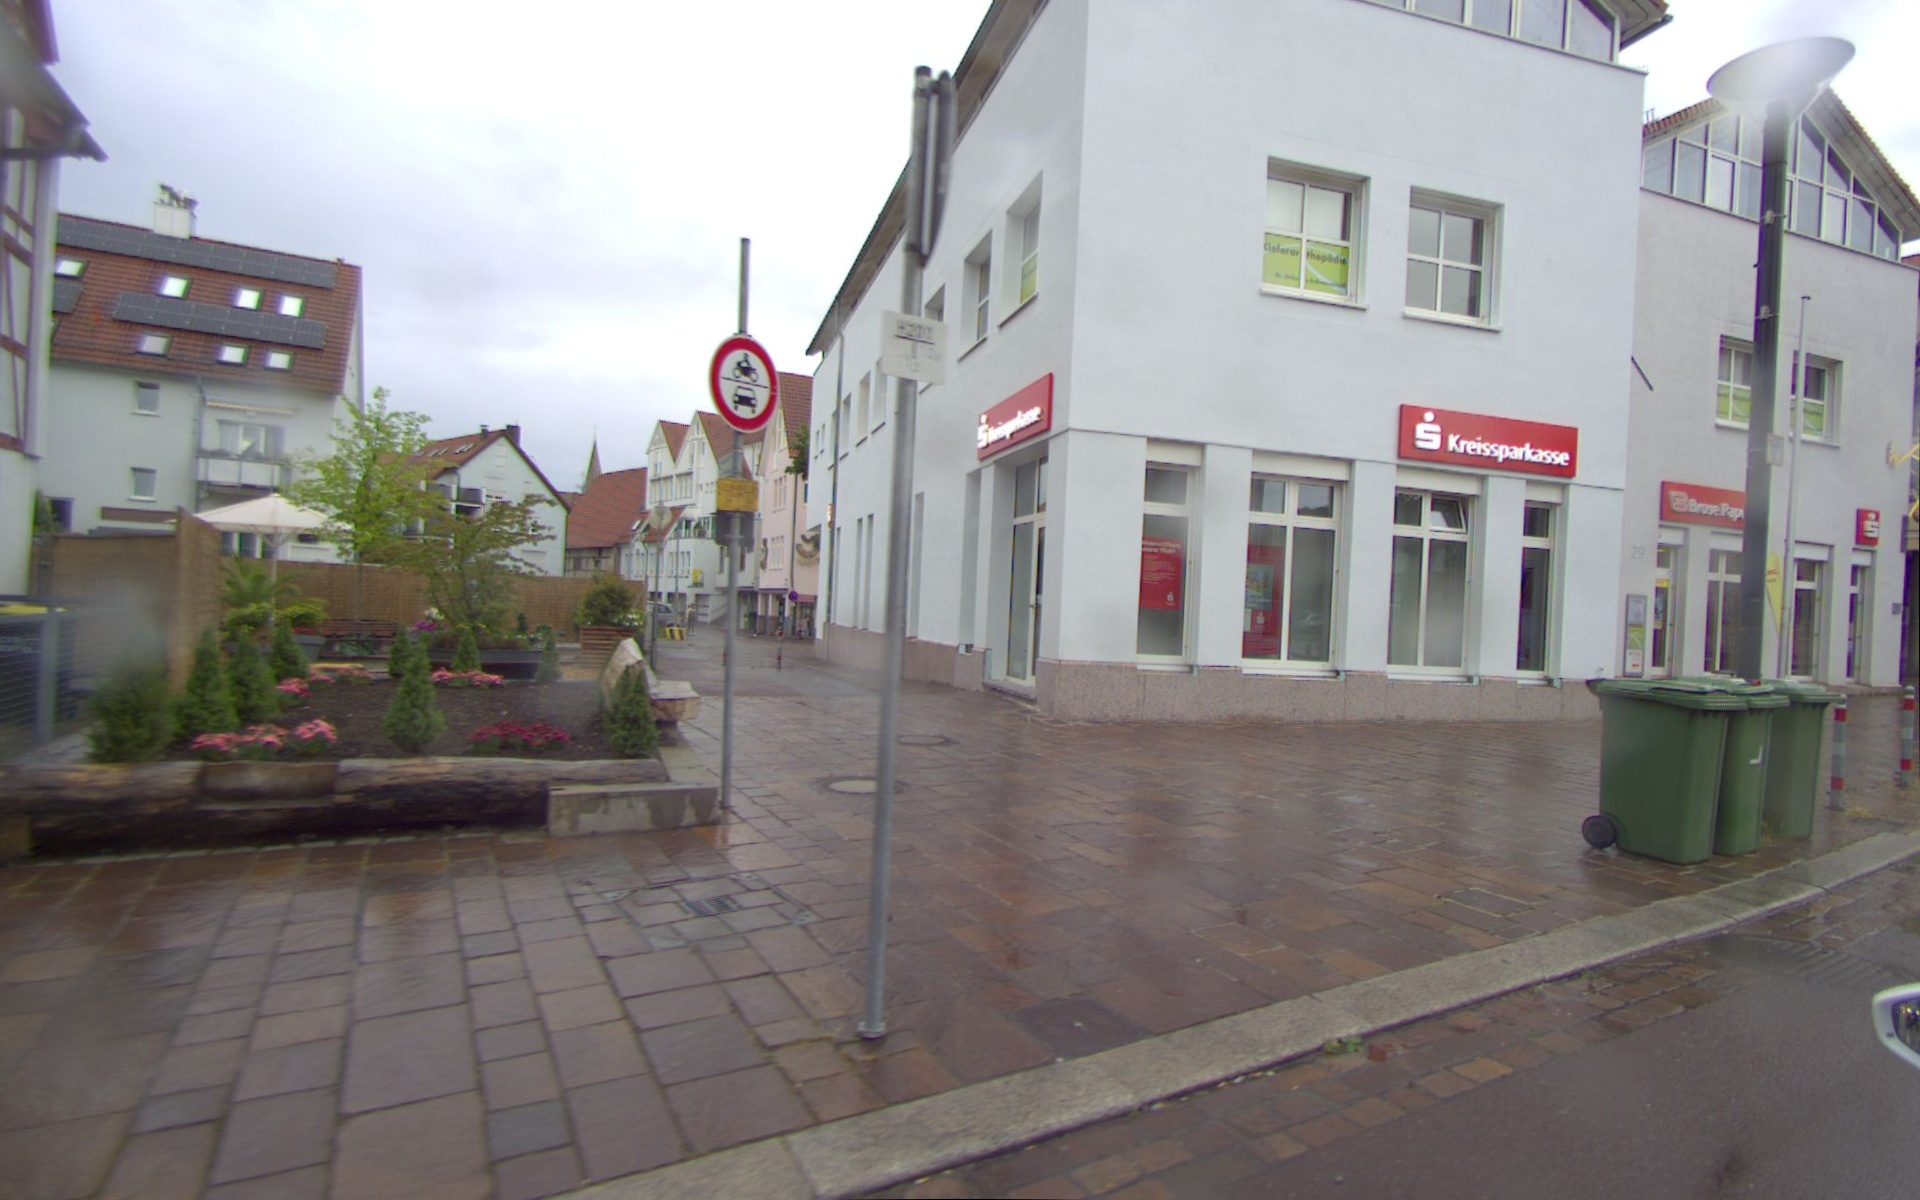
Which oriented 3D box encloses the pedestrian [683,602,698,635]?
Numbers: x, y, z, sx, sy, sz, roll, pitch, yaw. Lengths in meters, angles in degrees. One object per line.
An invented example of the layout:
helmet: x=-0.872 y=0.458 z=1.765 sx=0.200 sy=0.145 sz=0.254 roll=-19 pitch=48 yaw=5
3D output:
pedestrian: x=-14.921 y=1.020 z=55.642 sx=0.657 sy=1.783 sz=0.889 roll=3 pitch=-1 yaw=-21

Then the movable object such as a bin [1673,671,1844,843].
movable object such as a bin: x=5.647 y=1.079 z=7.126 sx=0.518 sy=1.065 sz=0.761 roll=3 pitch=2 yaw=-32

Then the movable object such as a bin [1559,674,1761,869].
movable object such as a bin: x=4.391 y=1.031 z=6.325 sx=0.692 sy=1.064 sz=0.814 roll=3 pitch=-1 yaw=-32

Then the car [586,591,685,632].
car: x=-14.109 y=0.486 z=43.629 sx=3.942 sy=1.550 sz=1.990 roll=3 pitch=-1 yaw=-22

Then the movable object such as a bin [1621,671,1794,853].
movable object such as a bin: x=4.933 y=1.034 z=6.650 sx=0.518 sy=1.064 sz=0.761 roll=3 pitch=-1 yaw=-32
